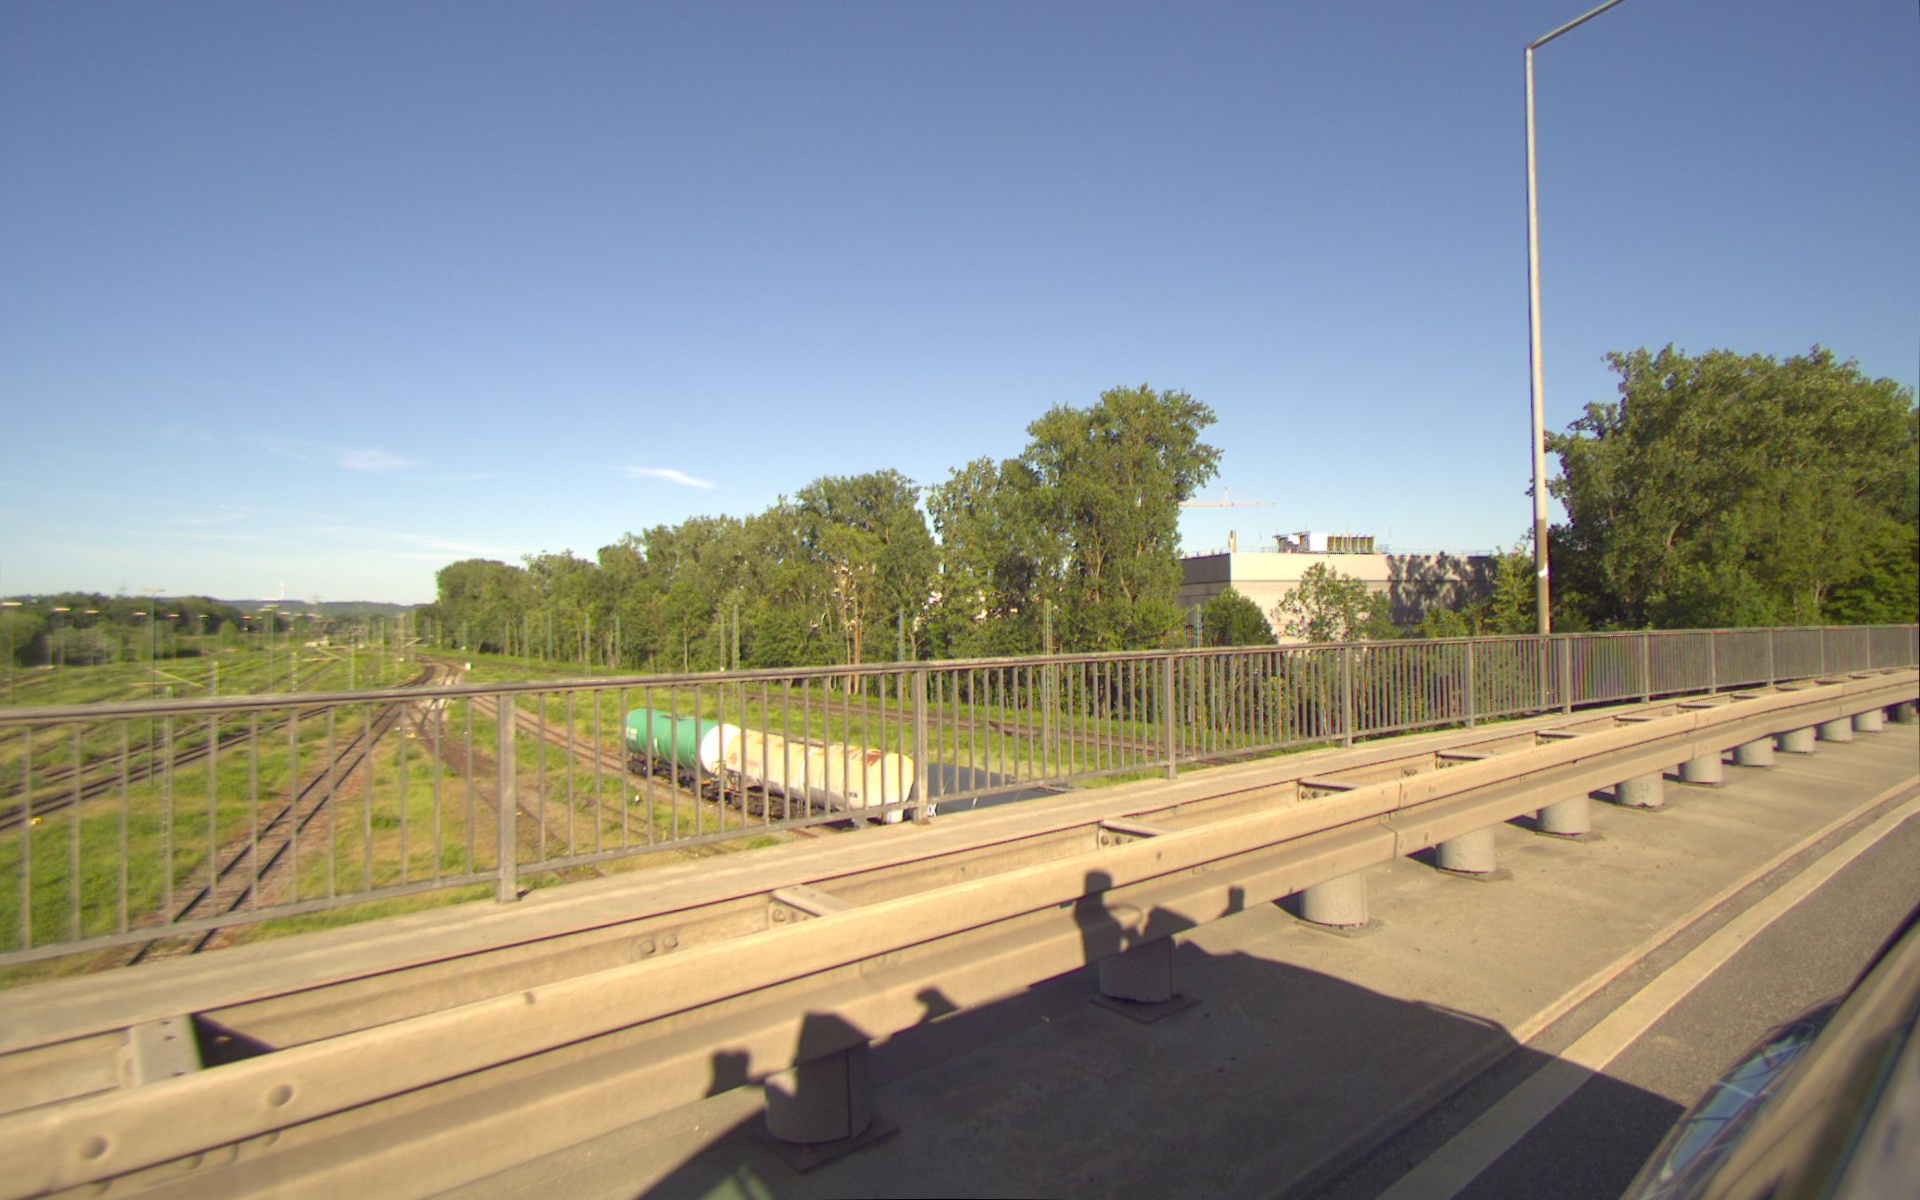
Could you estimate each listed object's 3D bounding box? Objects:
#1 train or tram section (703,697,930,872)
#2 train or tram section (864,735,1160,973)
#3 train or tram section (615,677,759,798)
[{"bbox_3d":[-7.619,8.298,49.186,3.274,5.327,16.876,0,1,-36],"label":"train or tram section"},{"bbox_3d":[1.269,8.559,37.043,3.274,5.331,13.081,0,1,-36],"label":"train or tram section"},{"bbox_3d":[-17.124,8.020,62.099,3.274,5.248,15.175,0,1,-36],"label":"train or tram section"}]
